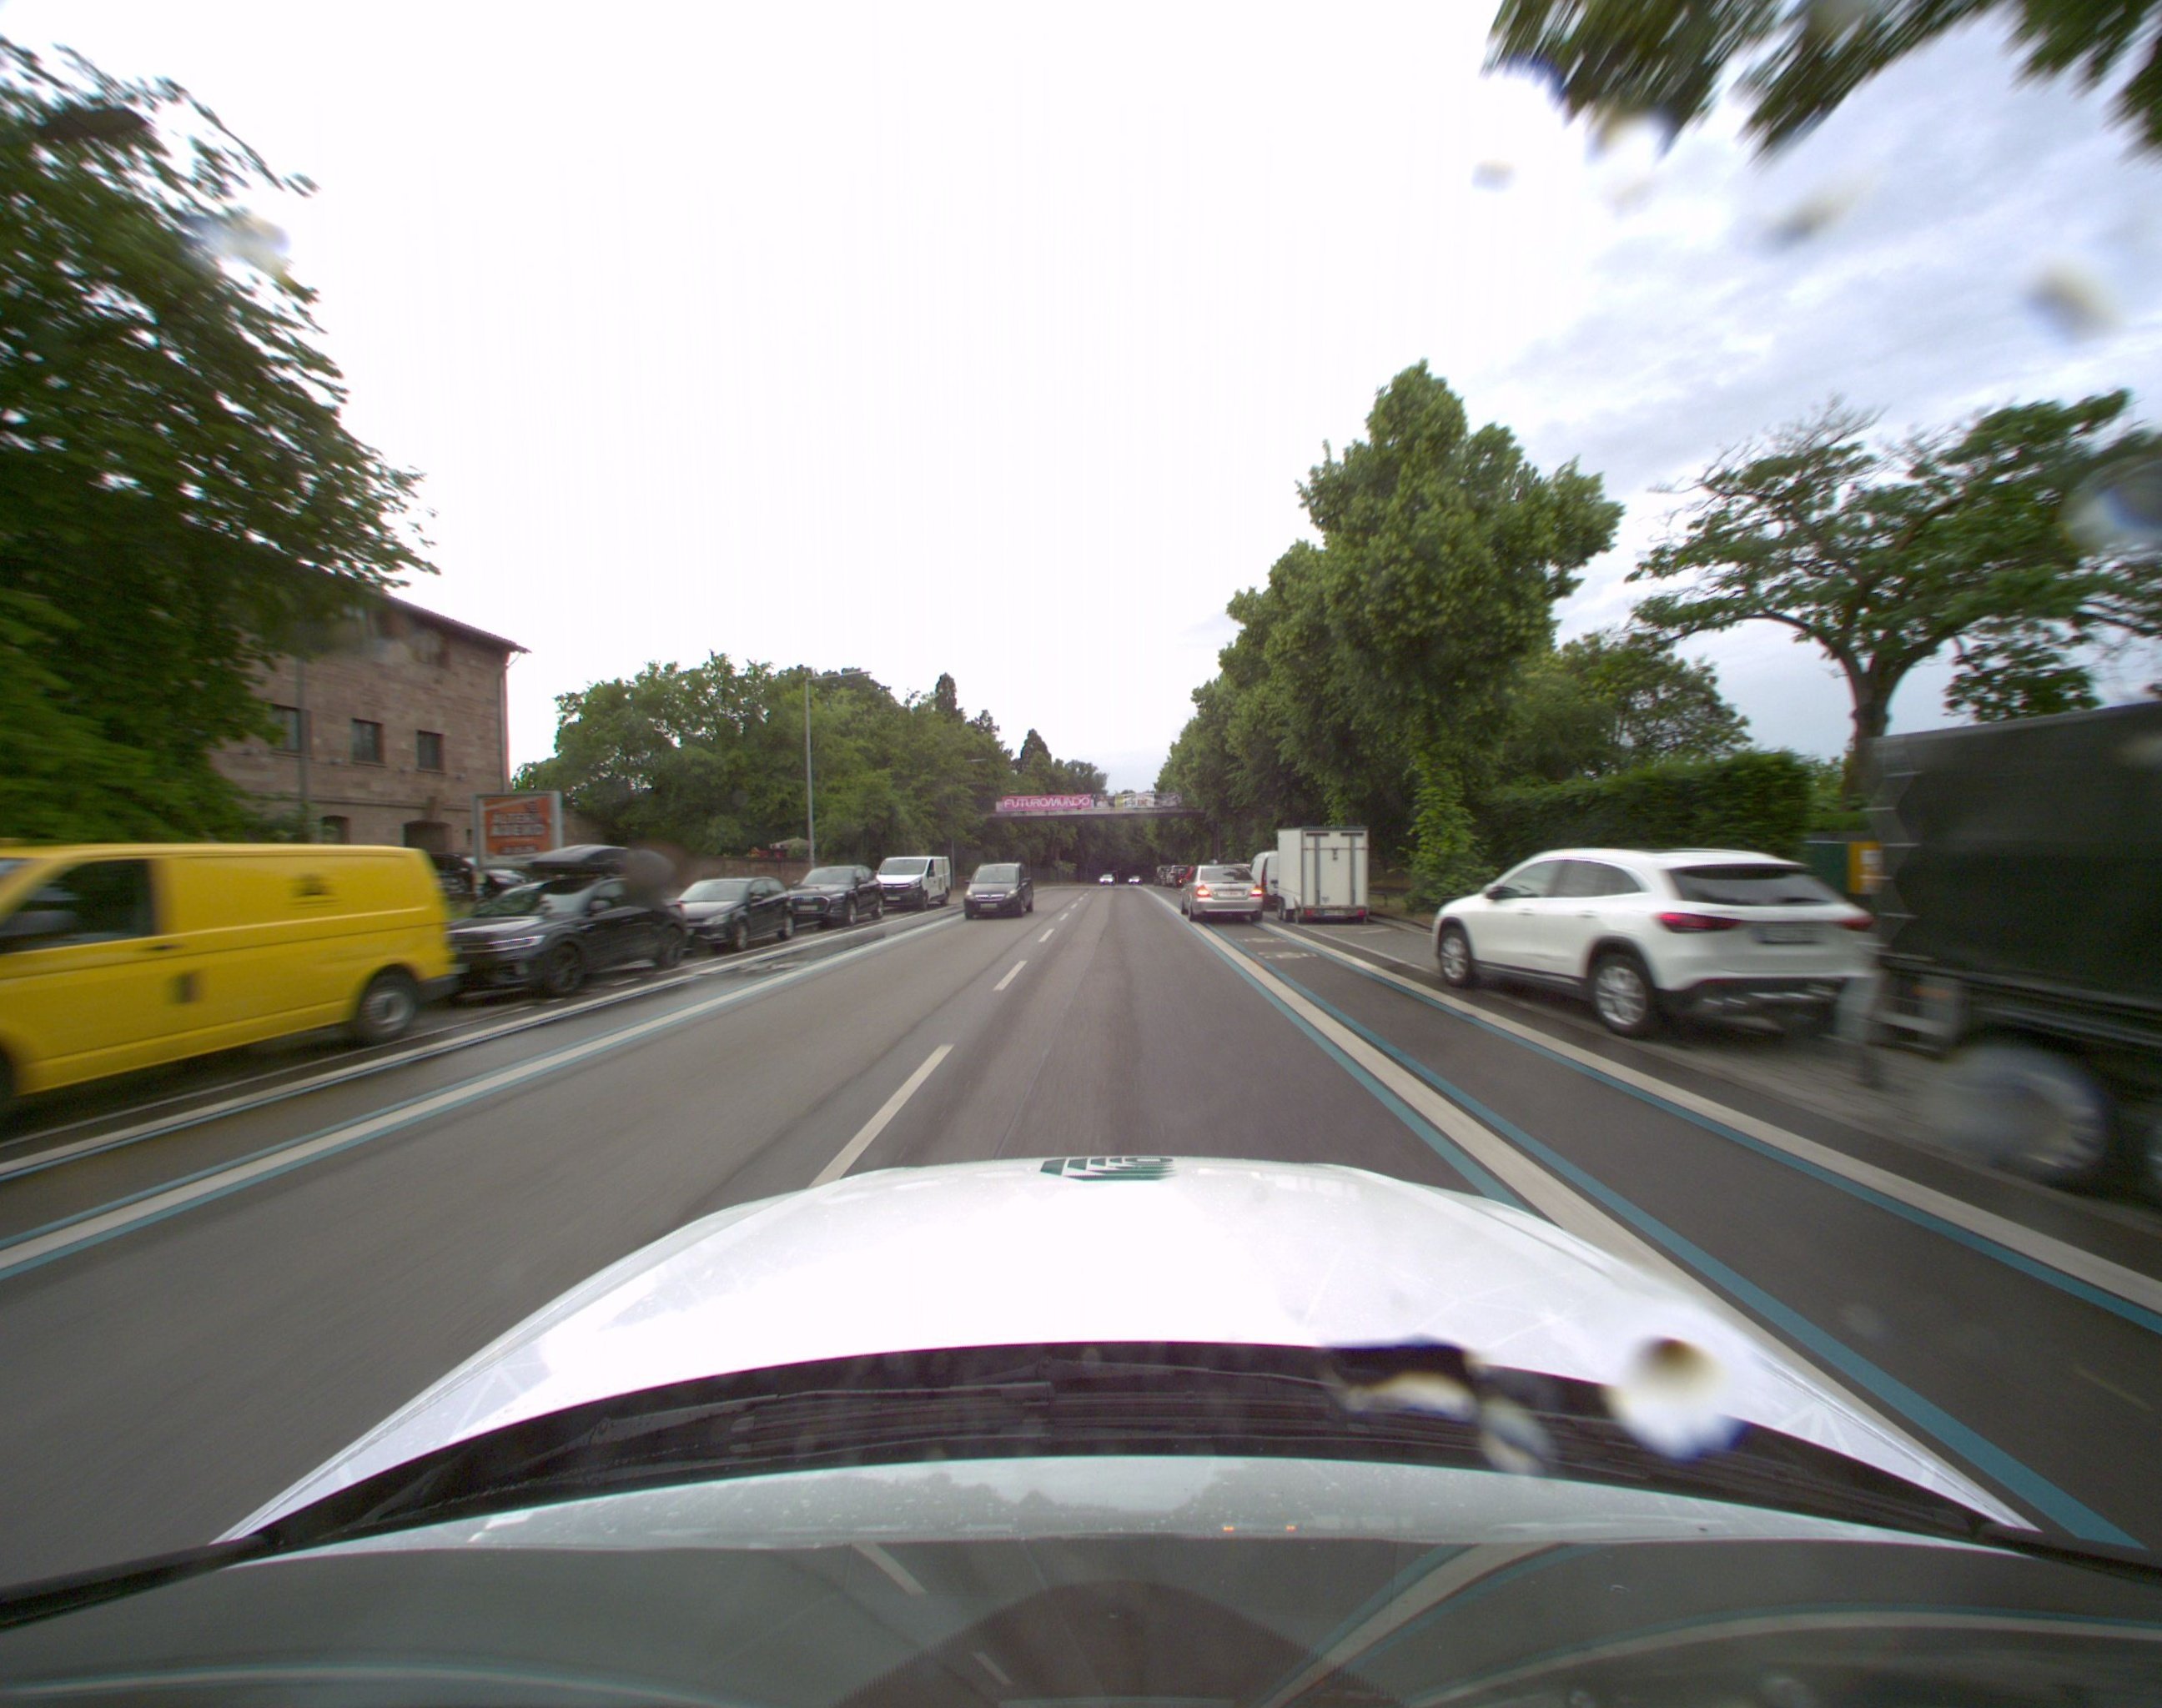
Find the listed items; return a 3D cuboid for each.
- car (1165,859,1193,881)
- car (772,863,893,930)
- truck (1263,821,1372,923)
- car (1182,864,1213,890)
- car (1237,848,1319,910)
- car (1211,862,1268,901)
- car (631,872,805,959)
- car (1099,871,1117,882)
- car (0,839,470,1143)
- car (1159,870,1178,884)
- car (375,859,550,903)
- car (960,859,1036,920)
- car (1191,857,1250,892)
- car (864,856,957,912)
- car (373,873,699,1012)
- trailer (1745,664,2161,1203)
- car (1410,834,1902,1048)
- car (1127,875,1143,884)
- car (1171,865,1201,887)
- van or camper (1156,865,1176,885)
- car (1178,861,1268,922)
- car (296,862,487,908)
[{"bbox_3d":[7.512,1.234,62.947,1.707,1.619,4.261,-1,-2,1],"label":"car"},{"bbox_3d":[-6.929,1.123,23.272,1.817,1.616,4.665,-2,0,2],"label":"car"},{"bbox_3d":[5.868,0.427,20.688,1.712,2.333,4.002,-1,-1,2],"label":"truck"},{"bbox_3d":[7.201,1.406,50.507,1.552,1.466,3.628,0,0,2],"label":"car"},{"bbox_3d":[6.239,0.752,26.238,1.715,1.790,4.347,-1,-1,2],"label":"car"},{"bbox_3d":[6.387,1.067,33.181,1.653,1.426,4.621,-1,0,3],"label":"car"},{"bbox_3d":[-7.256,1.156,16.757,1.602,1.446,4.040,-2,0,2],"label":"car"},{"bbox_3d":[3.802,3.123,113.756,1.960,1.552,3.879,-1,-1,9],"label":"car"},{"bbox_3d":[-7.778,0.906,6.469,1.986,1.913,4.847,-3,0,2],"label":"car"},{"bbox_3d":[8.386,2.228,78.304,1.767,1.348,4.470,0,-3,4],"label":"car"},{"bbox_3d":[-22.693,0.956,30.024,4.753,1.479,2.191,1,1,1],"label":"car"},{"bbox_3d":[-2.458,1.018,25.111,1.704,1.618,4.152,-3,0,2],"label":"car"},{"bbox_3d":[6.581,0.942,38.897,1.987,1.560,4.641,-1,-1,-1],"label":"car"},{"bbox_3d":[-6.332,1.059,30.946,1.969,1.914,5.234,-1,0,5],"label":"car"},{"bbox_3d":[-7.492,1.107,11.795,1.702,1.504,4.154,-2,0,3],"label":"car"},{"bbox_3d":[5.253,0.337,3.942,1.340,2.269,3.568,0,-1,4],"label":"trailer"},{"bbox_3d":[5.278,0.669,8.387,1.752,1.585,4.407,-1,-1,-4],"label":"car"},{"bbox_3d":[9.379,4.441,141.828,1.782,1.577,4.120,-2,-3,18],"label":"car"},{"bbox_3d":[7.367,1.572,57.284,1.666,1.394,4.451,-1,-3,2],"label":"car"},{"bbox_3d":[11.513,2.873,109.622,2.303,2.665,6.398,0,-2,10],"label":"van or camper"},{"bbox_3d":[3.642,0.919,21.665,1.715,1.398,4.592,-1,0,2],"label":"car"},{"bbox_3d":[-22.638,1.003,26.899,4.291,1.432,2.261,1,-1,-2],"label":"car"}]
